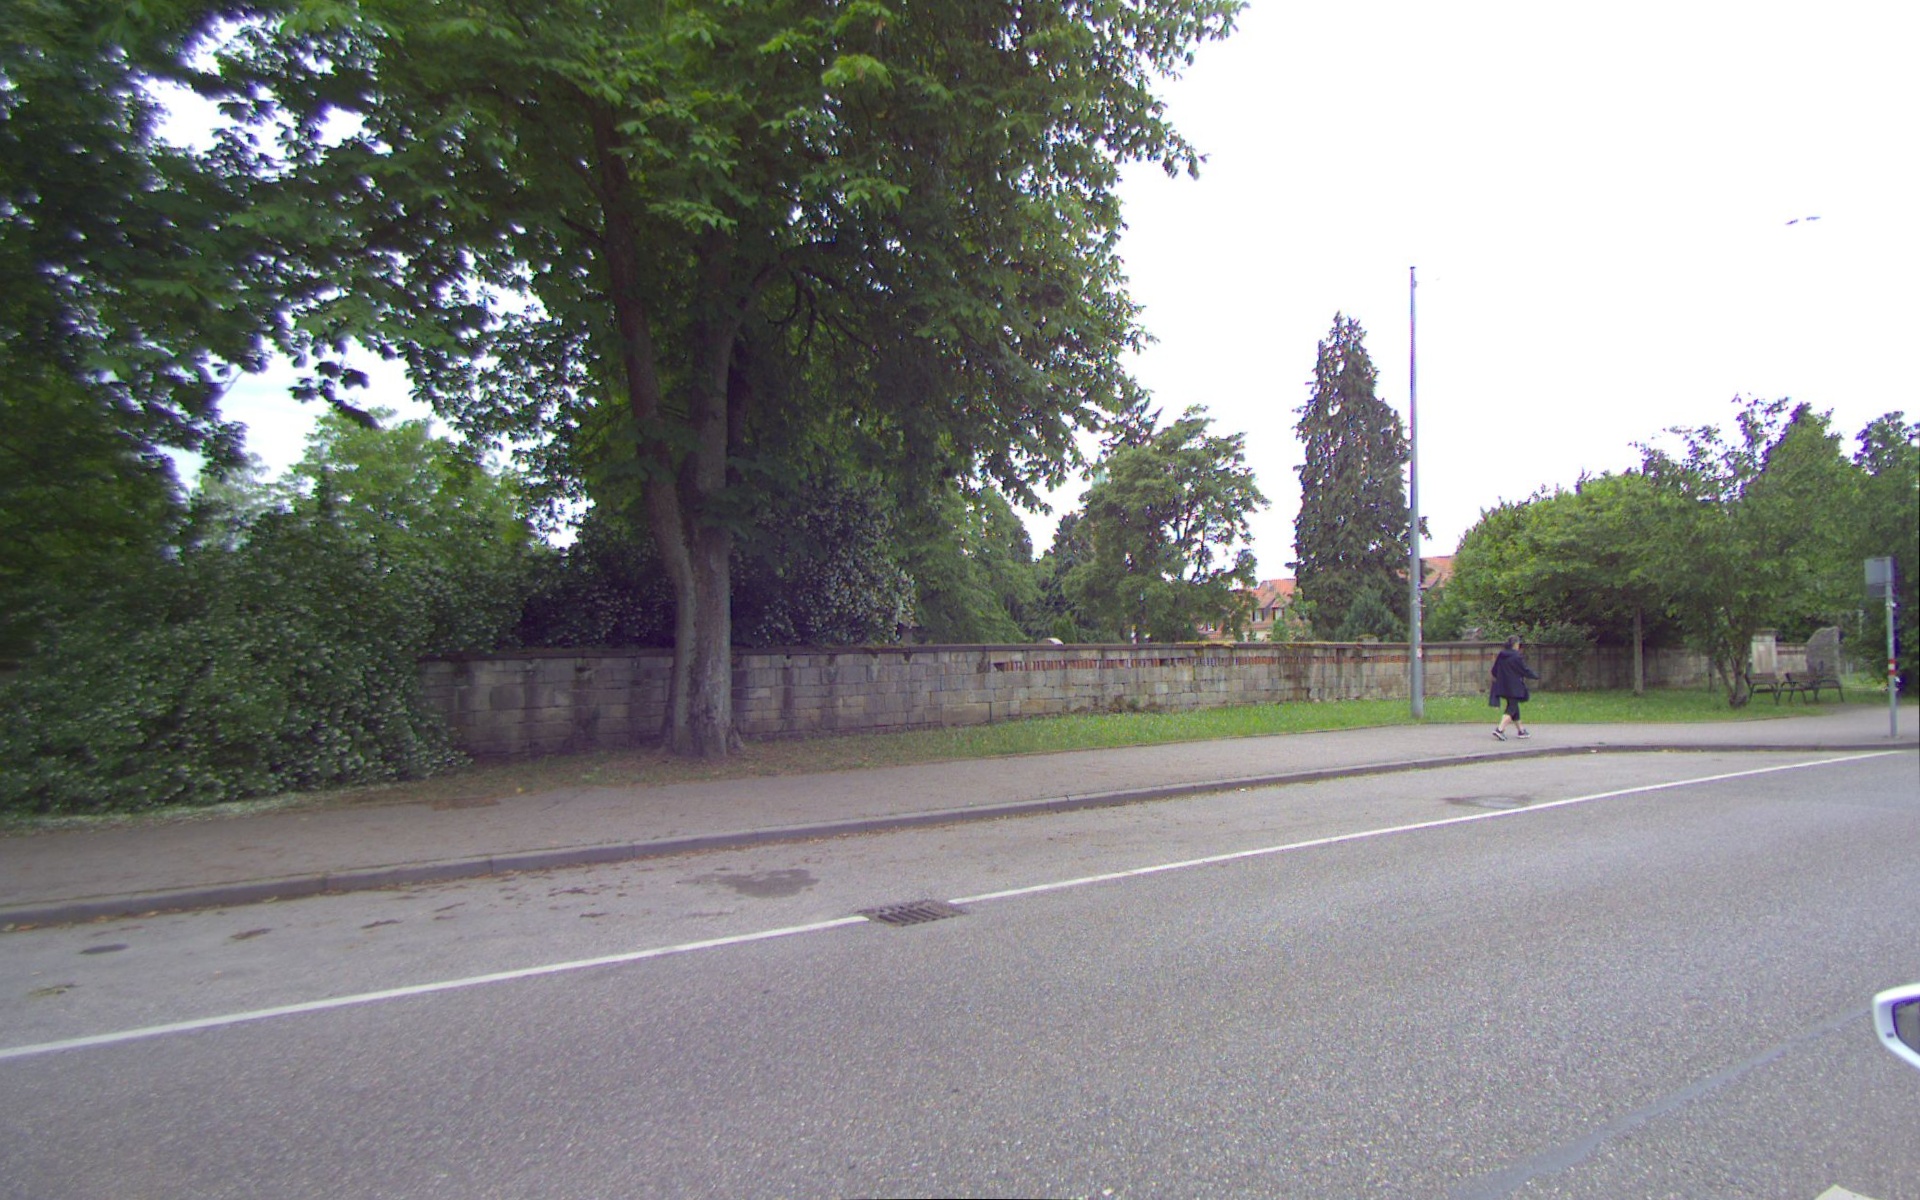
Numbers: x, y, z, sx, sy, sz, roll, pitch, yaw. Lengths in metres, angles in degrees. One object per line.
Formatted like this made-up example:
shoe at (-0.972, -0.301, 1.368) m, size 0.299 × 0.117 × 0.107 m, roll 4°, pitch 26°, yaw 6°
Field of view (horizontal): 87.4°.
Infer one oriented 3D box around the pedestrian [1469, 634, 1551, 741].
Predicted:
pedestrian at (8.566, 1.334, 15.656) m, size 0.955 × 1.599 × 0.745 m, roll 1°, pitch -1°, yaw -30°
